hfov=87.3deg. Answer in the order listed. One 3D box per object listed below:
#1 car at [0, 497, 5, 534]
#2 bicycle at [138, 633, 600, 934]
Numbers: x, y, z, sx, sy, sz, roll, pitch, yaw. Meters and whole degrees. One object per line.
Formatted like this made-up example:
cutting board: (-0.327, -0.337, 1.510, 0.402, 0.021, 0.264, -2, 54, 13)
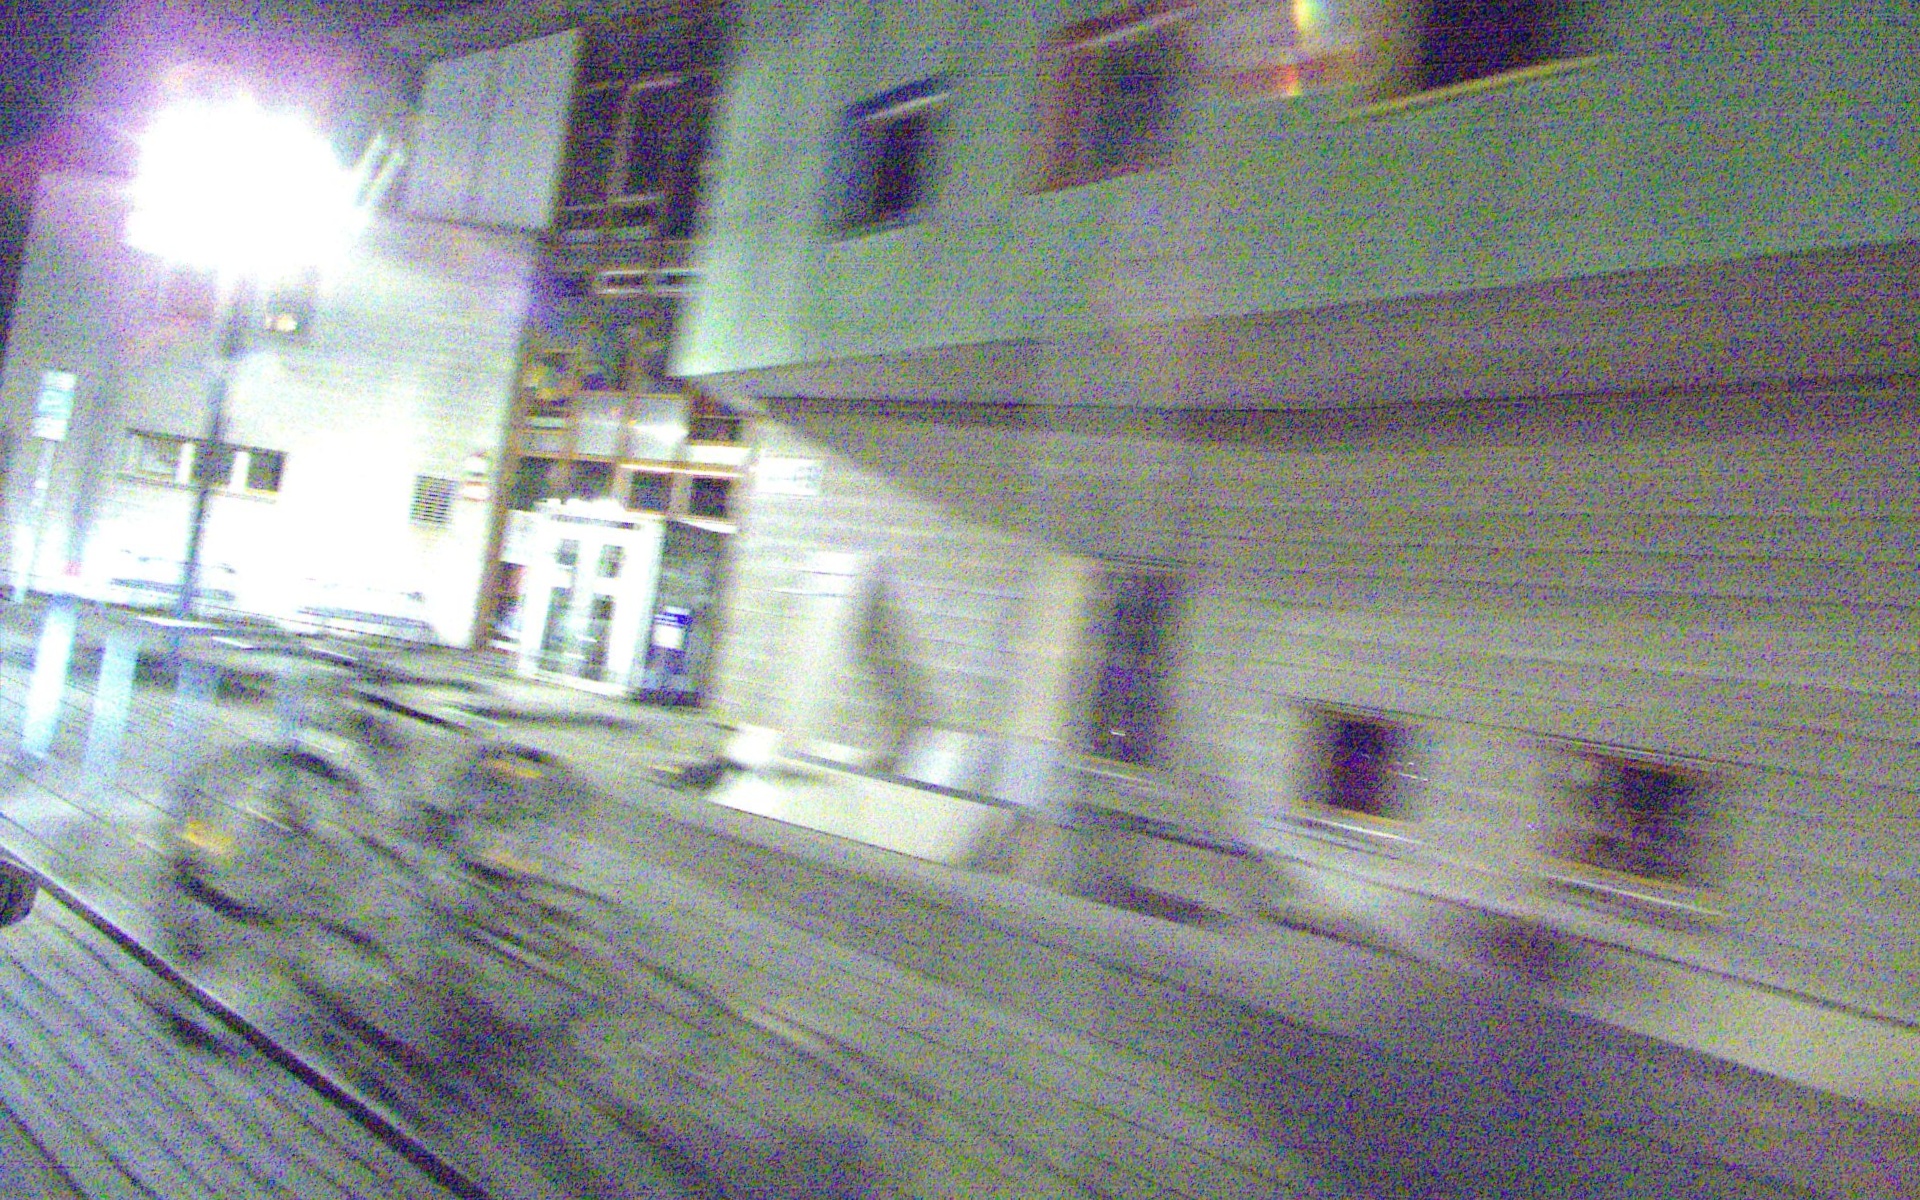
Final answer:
car: (-11.957, -0.573, 10.559, 3.992, 1.509, 1.792, 7, -2, 33)
bicycle: (-2.512, 0.774, 4.549, 0.340, 1.074, 1.760, 7, -3, 29)
